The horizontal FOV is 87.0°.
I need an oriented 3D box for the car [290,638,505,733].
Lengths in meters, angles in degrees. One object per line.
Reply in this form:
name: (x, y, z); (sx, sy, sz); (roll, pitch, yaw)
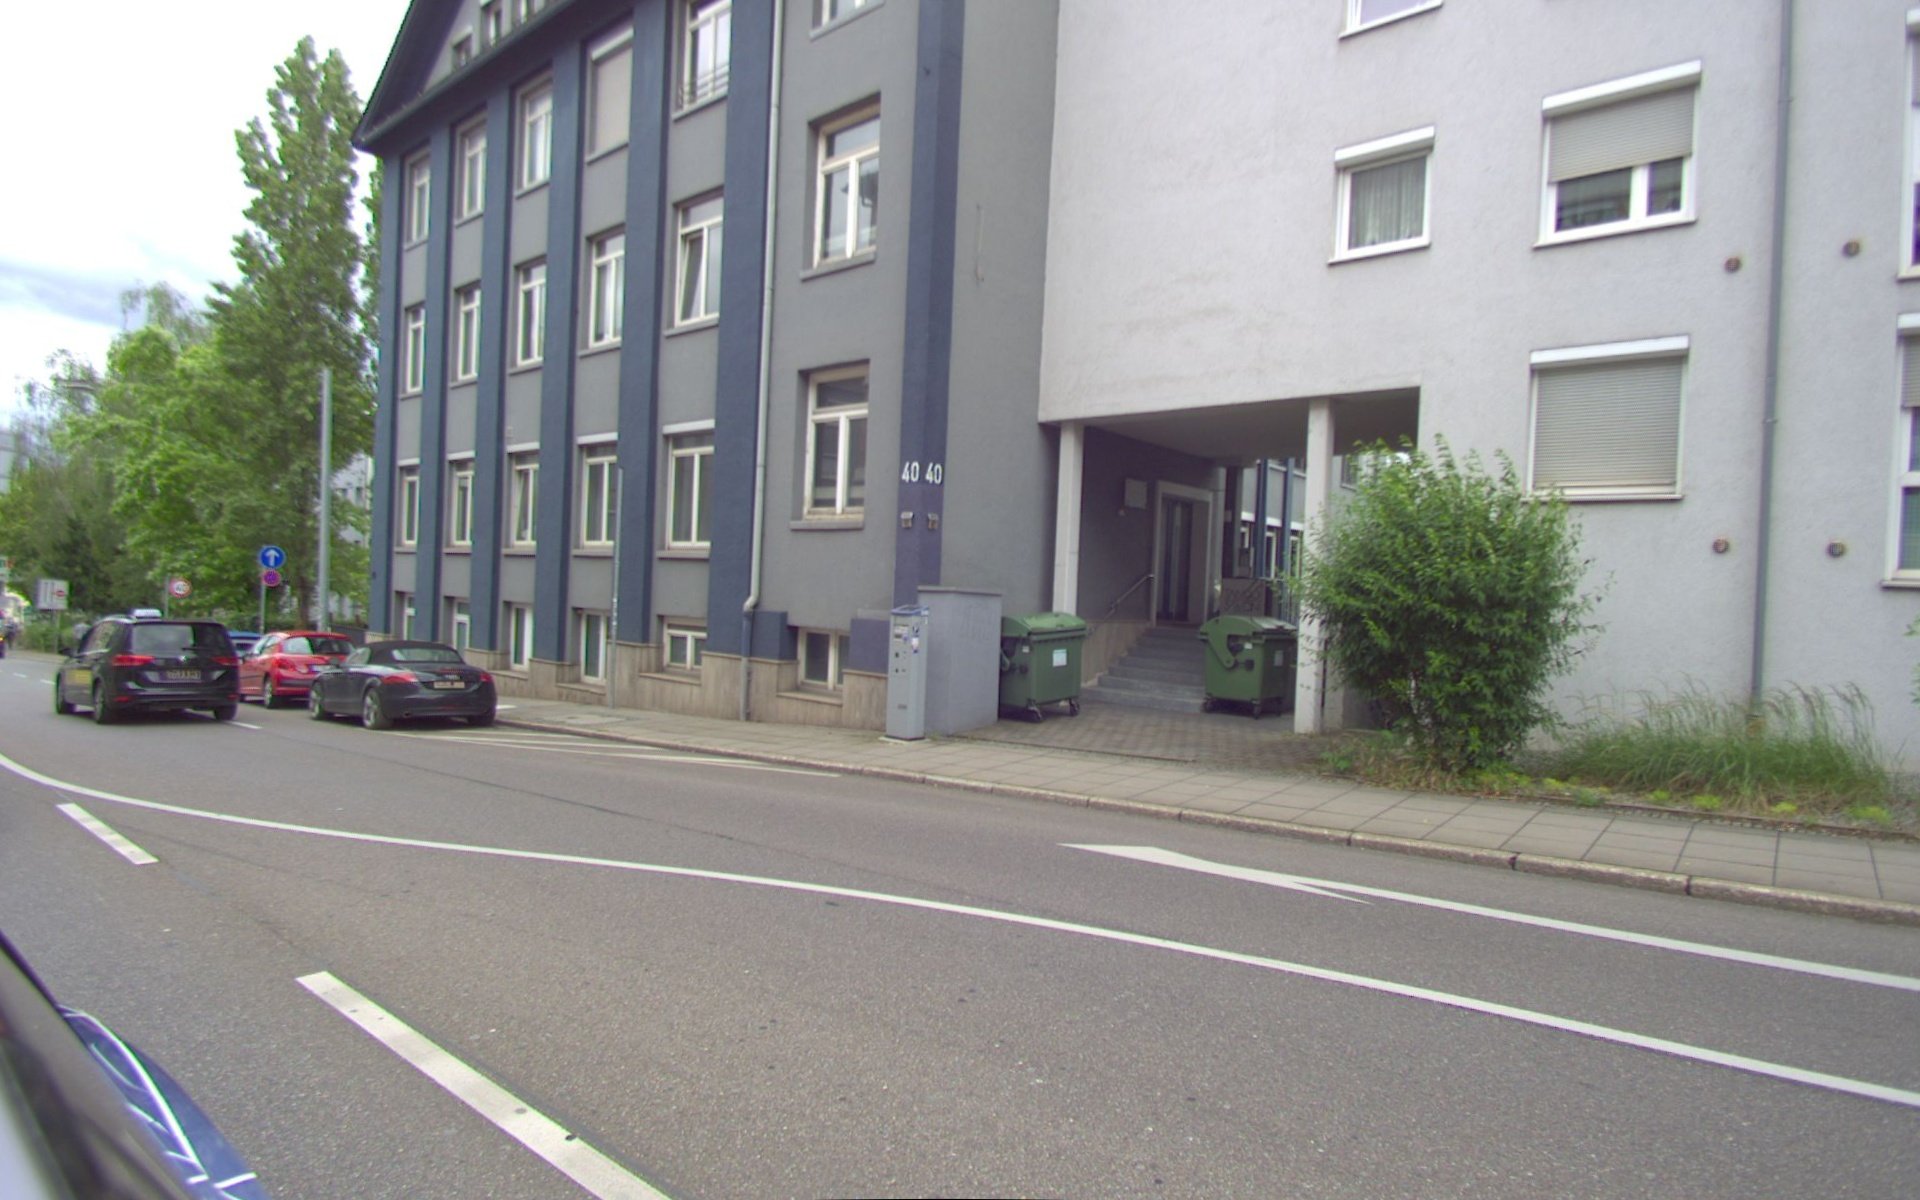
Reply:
car: (-9.211, 1.325, 16.443); (4.038, 1.337, 1.702); (-1, -5, 40)

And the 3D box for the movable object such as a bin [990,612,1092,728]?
movable object such as a bin: (1.130, 0.925, 13.993); (0.784, 1.467, 1.251); (0, 1, 44)

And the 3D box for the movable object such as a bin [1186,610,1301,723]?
movable object such as a bin: (4.187, 0.947, 14.949); (1.190, 1.489, 1.132); (5, 2, 41)

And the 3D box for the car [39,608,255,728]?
car: (-13.348, 1.048, 16.539); (4.301, 1.720, 1.766); (-1, -4, 39)

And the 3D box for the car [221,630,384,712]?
car: (-13.323, 1.388, 20.436); (3.868, 1.485, 1.796); (-2, -5, 42)

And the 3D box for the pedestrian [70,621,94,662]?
pedestrian: (-40.996, 1.927, 47.238); (0.776, 1.864, 0.736); (-2, -2, 42)

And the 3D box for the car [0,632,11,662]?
car: (-49.769, 2.392, 51.593); (3.726, 1.495, 1.701); (-2, -4, 42)
